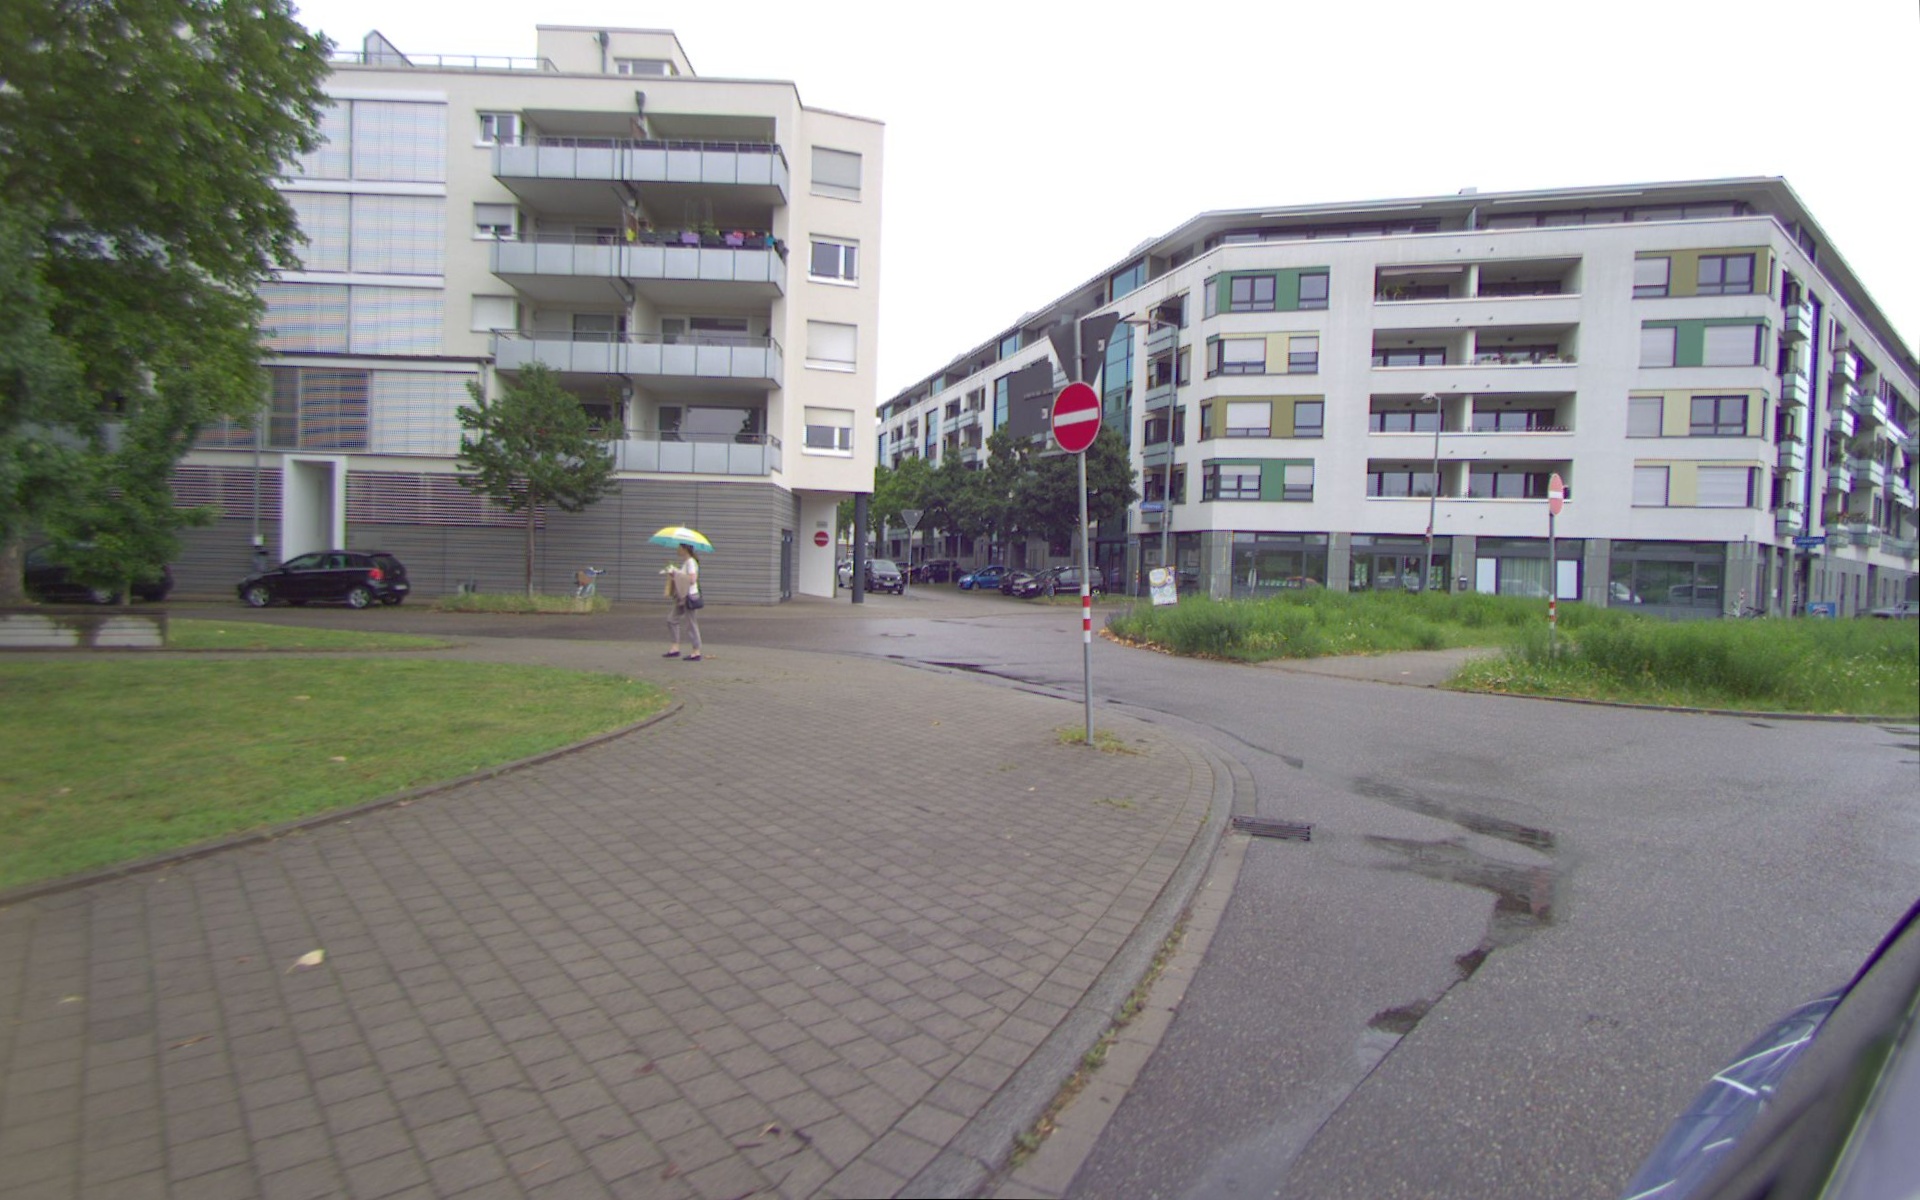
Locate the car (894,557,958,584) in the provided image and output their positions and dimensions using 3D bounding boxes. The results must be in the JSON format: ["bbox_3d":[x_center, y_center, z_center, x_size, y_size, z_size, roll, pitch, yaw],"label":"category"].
[{"bbox_3d":[-2.363,-2.053,70.329,4.016,1.775,1.818,1,2,-18],"label":"car"}]

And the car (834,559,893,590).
[{"bbox_3d":[-5.018,-1.325,51.988,1.958,1.449,4.476,1,2,-19],"label":"car"}]

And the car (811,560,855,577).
[{"bbox_3d":[-12.625,-3.125,100.728,4.016,1.564,1.818,1,2,-18],"label":"car"}]

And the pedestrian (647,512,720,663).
[{"bbox_3d":[-3.905,-0.190,14.266,0.611,2.038,0.967,1,1,-40],"label":"pedestrian"}]

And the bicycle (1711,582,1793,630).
[{"bbox_3d":[27.600,0.195,35.330,0.617,1.541,2.200,1,2,-20],"label":"bicycle"}]

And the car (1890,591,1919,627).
[{"bbox_3d":[41.576,0.497,41.816,1.877,1.422,4.420,0,4,-41],"label":"car"}]

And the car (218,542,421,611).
[{"bbox_3d":[-16.180,-0.603,25.703,4.041,1.567,1.736,1,1,-1],"label":"car"}]

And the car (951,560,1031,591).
[{"bbox_3d":[1.755,-1.431,58.366,4.259,1.671,1.745,1,2,-13],"label":"car"}]

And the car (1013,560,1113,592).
[{"bbox_3d":[4.988,-1.149,48.950,4.428,1.450,1.818,1,2,-18],"label":"car"}]

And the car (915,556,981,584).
[{"bbox_3d":[-0.816,-2.020,67.968,4.016,1.775,1.818,1,2,-18],"label":"car"}]

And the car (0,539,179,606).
[{"bbox_3d":[-22.373,-0.707,25.559,3.923,1.567,1.736,1,1,-1],"label":"car"}]

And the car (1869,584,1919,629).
[{"bbox_3d":[37.792,0.329,38.801,1.932,1.643,4.098,0,4,-41],"label":"car"}]

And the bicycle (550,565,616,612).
[{"bbox_3d":[-9.566,-0.312,25.784,0.712,1.101,2.485,2,2,0],"label":"bicycle"}]

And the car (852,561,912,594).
[{"bbox_3d":[-3.744,-1.094,47.744,1.958,1.433,3.836,1,2,-18],"label":"car"}]
